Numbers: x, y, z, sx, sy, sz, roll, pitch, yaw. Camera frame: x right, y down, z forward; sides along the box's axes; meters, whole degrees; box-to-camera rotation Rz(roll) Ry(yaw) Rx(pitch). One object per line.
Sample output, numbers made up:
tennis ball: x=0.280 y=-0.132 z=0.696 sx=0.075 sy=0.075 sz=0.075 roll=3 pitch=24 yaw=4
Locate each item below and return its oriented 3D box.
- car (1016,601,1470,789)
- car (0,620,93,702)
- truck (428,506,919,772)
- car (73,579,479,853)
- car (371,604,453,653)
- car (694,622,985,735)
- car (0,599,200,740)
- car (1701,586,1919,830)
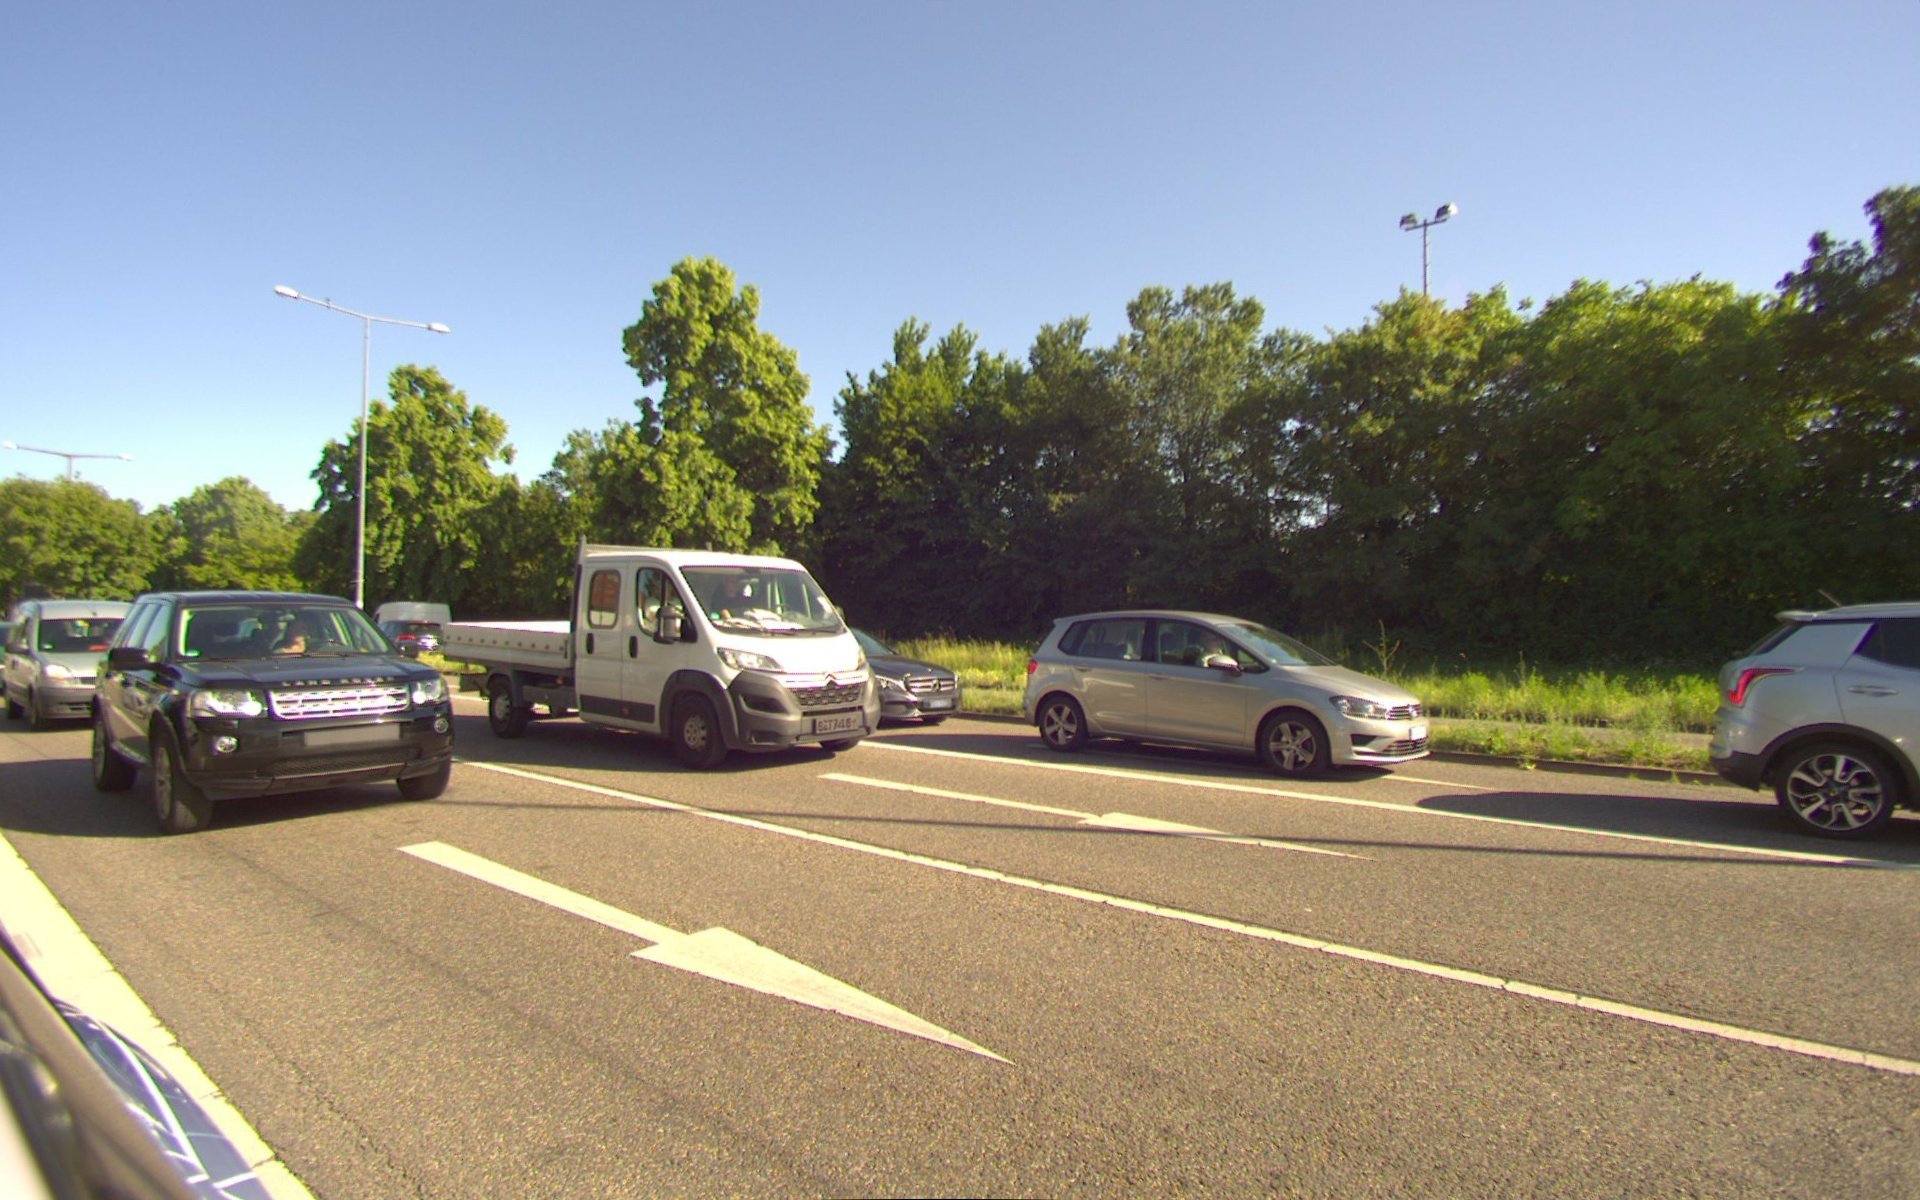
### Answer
car: x=2.824 y=0.860 z=10.672 sx=4.241 sy=1.587 sz=1.854 roll=-1 pitch=-2 yaw=41
car: x=-19.310 y=1.183 z=20.729 sx=4.365 sy=1.497 sz=1.894 roll=-1 pitch=0 yaw=43
truck: x=-3.686 y=0.434 z=11.891 sx=6.770 sy=2.327 sz=2.162 roll=-1 pitch=-3 yaw=41
car: x=-5.853 y=0.765 z=8.432 sx=4.391 sy=1.697 sz=1.802 roll=-1 pitch=-2 yaw=42
car: x=-25.189 y=1.294 z=46.467 sx=4.538 sy=2.100 sz=1.892 roll=-1 pitch=0 yaw=42
car: x=-1.881 y=1.049 z=14.879 sx=4.353 sy=1.415 sz=1.811 roll=-1 pitch=-2 yaw=41
car: x=-12.733 y=0.896 z=14.767 sx=4.365 sy=1.741 sz=1.894 roll=-1 pitch=0 yaw=43
car: x=7.430 y=0.708 z=6.482 sx=4.193 sy=1.549 sz=1.811 roll=-1 pitch=-3 yaw=41
